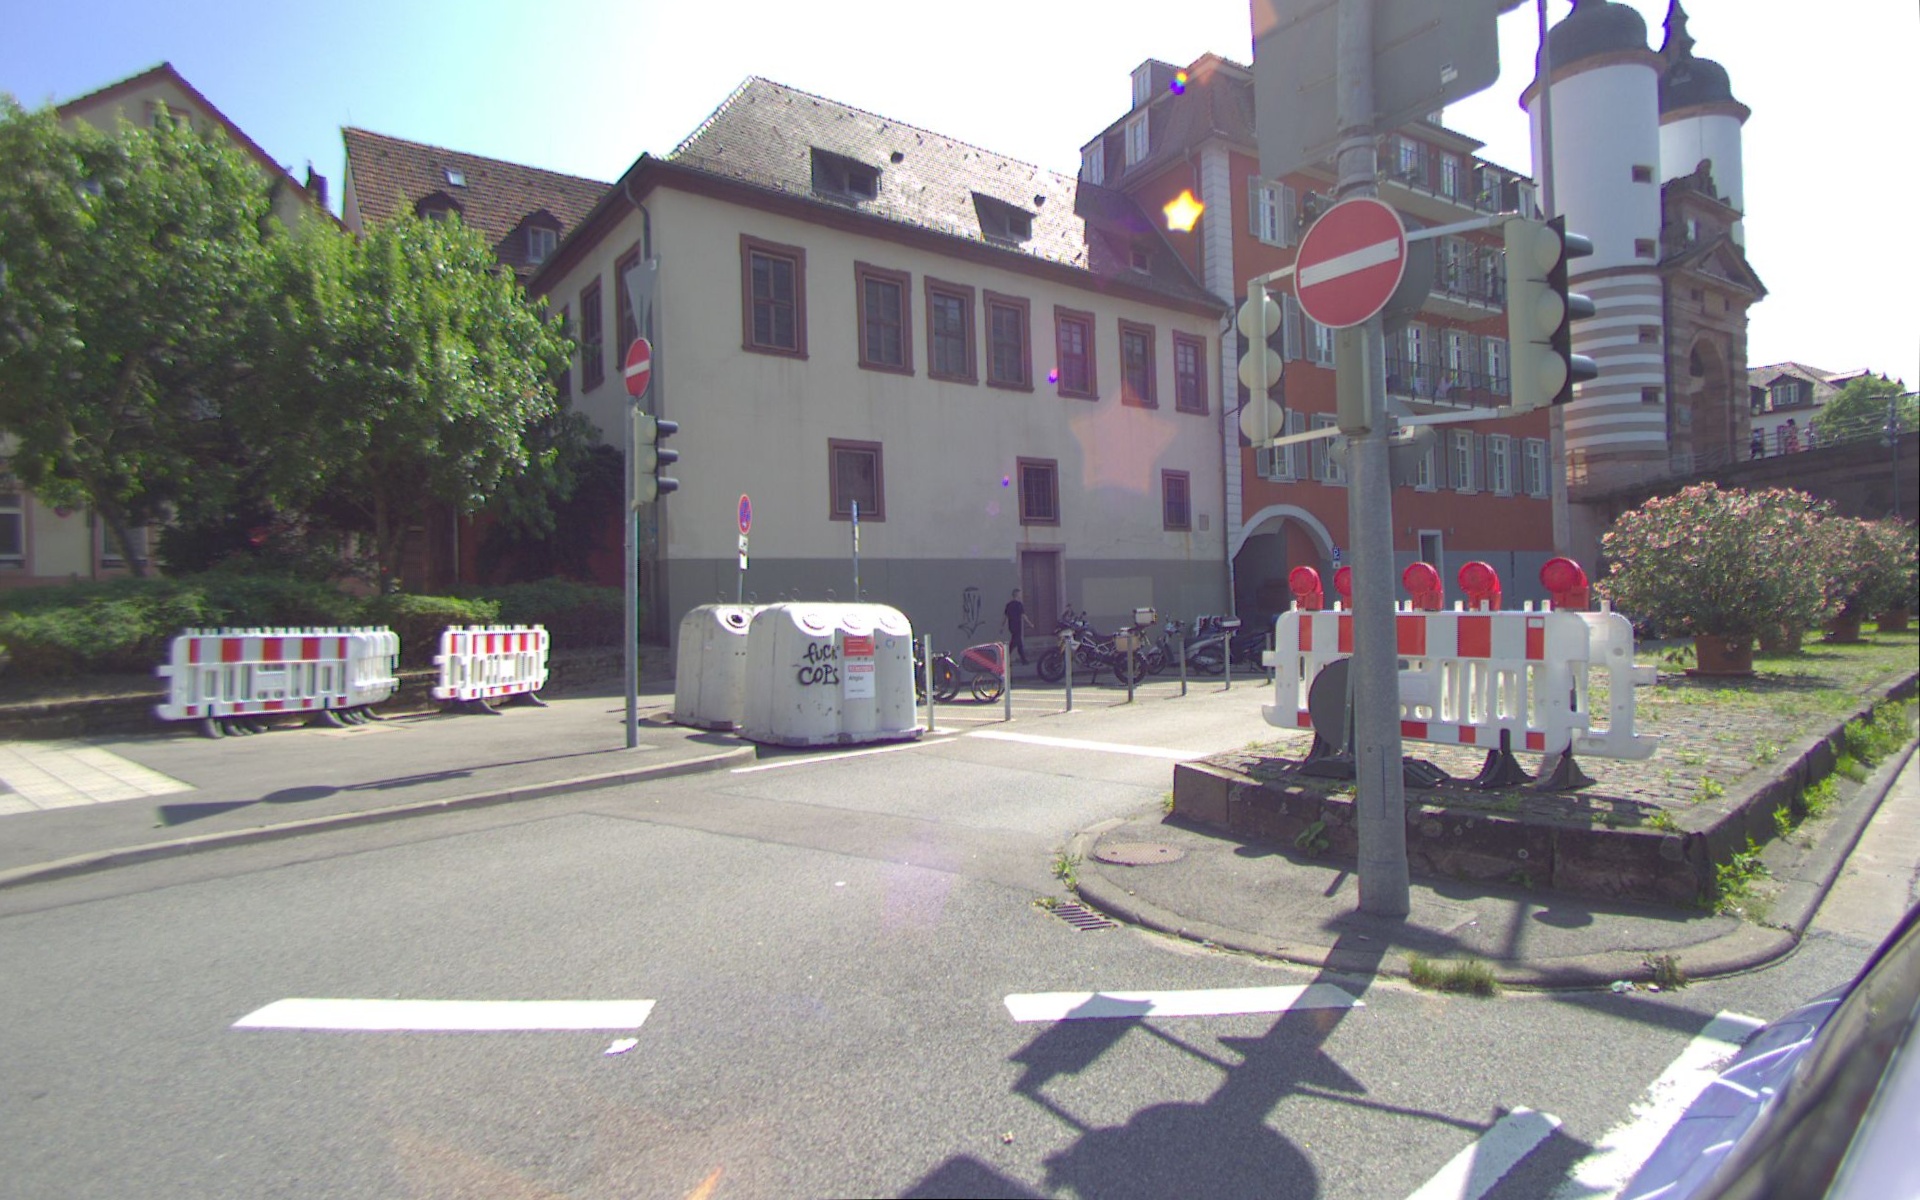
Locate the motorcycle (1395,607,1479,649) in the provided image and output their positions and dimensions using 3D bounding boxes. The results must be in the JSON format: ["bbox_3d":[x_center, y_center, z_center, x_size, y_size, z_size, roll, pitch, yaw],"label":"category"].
[{"bbox_3d":[14.304,0.834,30.386,2.121,1.249,0.839,-1,-1,14],"label":"motorcycle"}]

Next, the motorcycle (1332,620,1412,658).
[{"bbox_3d":[11.106,1.045,27.299,1.901,0.999,0.546,-1,0,11],"label":"motorcycle"}]

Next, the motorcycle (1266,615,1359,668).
[{"bbox_3d":[8.805,1.030,25.373,2.155,1.283,0.778,-1,0,19],"label":"motorcycle"}]

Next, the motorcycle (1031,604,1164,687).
[{"bbox_3d":[2.719,0.882,19.971,2.462,1.552,1.048,-1,0,16],"label":"motorcycle"}]

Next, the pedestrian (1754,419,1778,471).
[{"bbox_3d":[33.024,-6.337,41.471,0.693,2.039,0.580,-2,1,-33],"label":"pedestrian"}]

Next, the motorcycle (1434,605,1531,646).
[{"bbox_3d":[16.099,0.781,31.251,2.505,1.249,0.839,-1,-1,14],"label":"motorcycle"}]

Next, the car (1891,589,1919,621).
[{"bbox_3d":[47.719,0.216,49.579,3.802,1.429,1.727,-2,1,-24],"label":"car"}]

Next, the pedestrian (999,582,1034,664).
[{"bbox_3d":[1.301,0.511,23.309,0.608,1.845,0.495,-2,1,-40],"label":"pedestrian"}]

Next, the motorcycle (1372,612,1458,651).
[{"bbox_3d":[13.139,0.895,29.292,2.162,1.090,0.626,-1,0,11],"label":"motorcycle"}]

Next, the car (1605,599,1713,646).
[{"bbox_3d":[25.610,0.797,37.064,3.733,1.562,1.679,-1,-1,-27],"label":"car"}]

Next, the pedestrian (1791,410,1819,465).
[{"bbox_3d":[33.484,-6.432,40.100,0.693,2.039,0.641,-2,1,-33],"label":"pedestrian"}]

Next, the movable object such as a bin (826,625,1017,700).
[{"bbox_3d":[-0.603,0.992,16.514,2.911,1.124,1.253,0,0,14],"label":"movable object such as a bin"}]

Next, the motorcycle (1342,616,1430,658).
[{"bbox_3d":[11.967,1.037,28.454,2.162,1.162,0.626,-1,0,11],"label":"motorcycle"}]

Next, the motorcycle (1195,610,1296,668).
[{"bbox_3d":[6.529,0.891,23.148,2.169,1.283,0.624,-1,0,19],"label":"motorcycle"}]

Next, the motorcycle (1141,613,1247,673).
[{"bbox_3d":[5.124,0.936,22.147,2.207,1.268,0.624,-1,0,19],"label":"motorcycle"}]
